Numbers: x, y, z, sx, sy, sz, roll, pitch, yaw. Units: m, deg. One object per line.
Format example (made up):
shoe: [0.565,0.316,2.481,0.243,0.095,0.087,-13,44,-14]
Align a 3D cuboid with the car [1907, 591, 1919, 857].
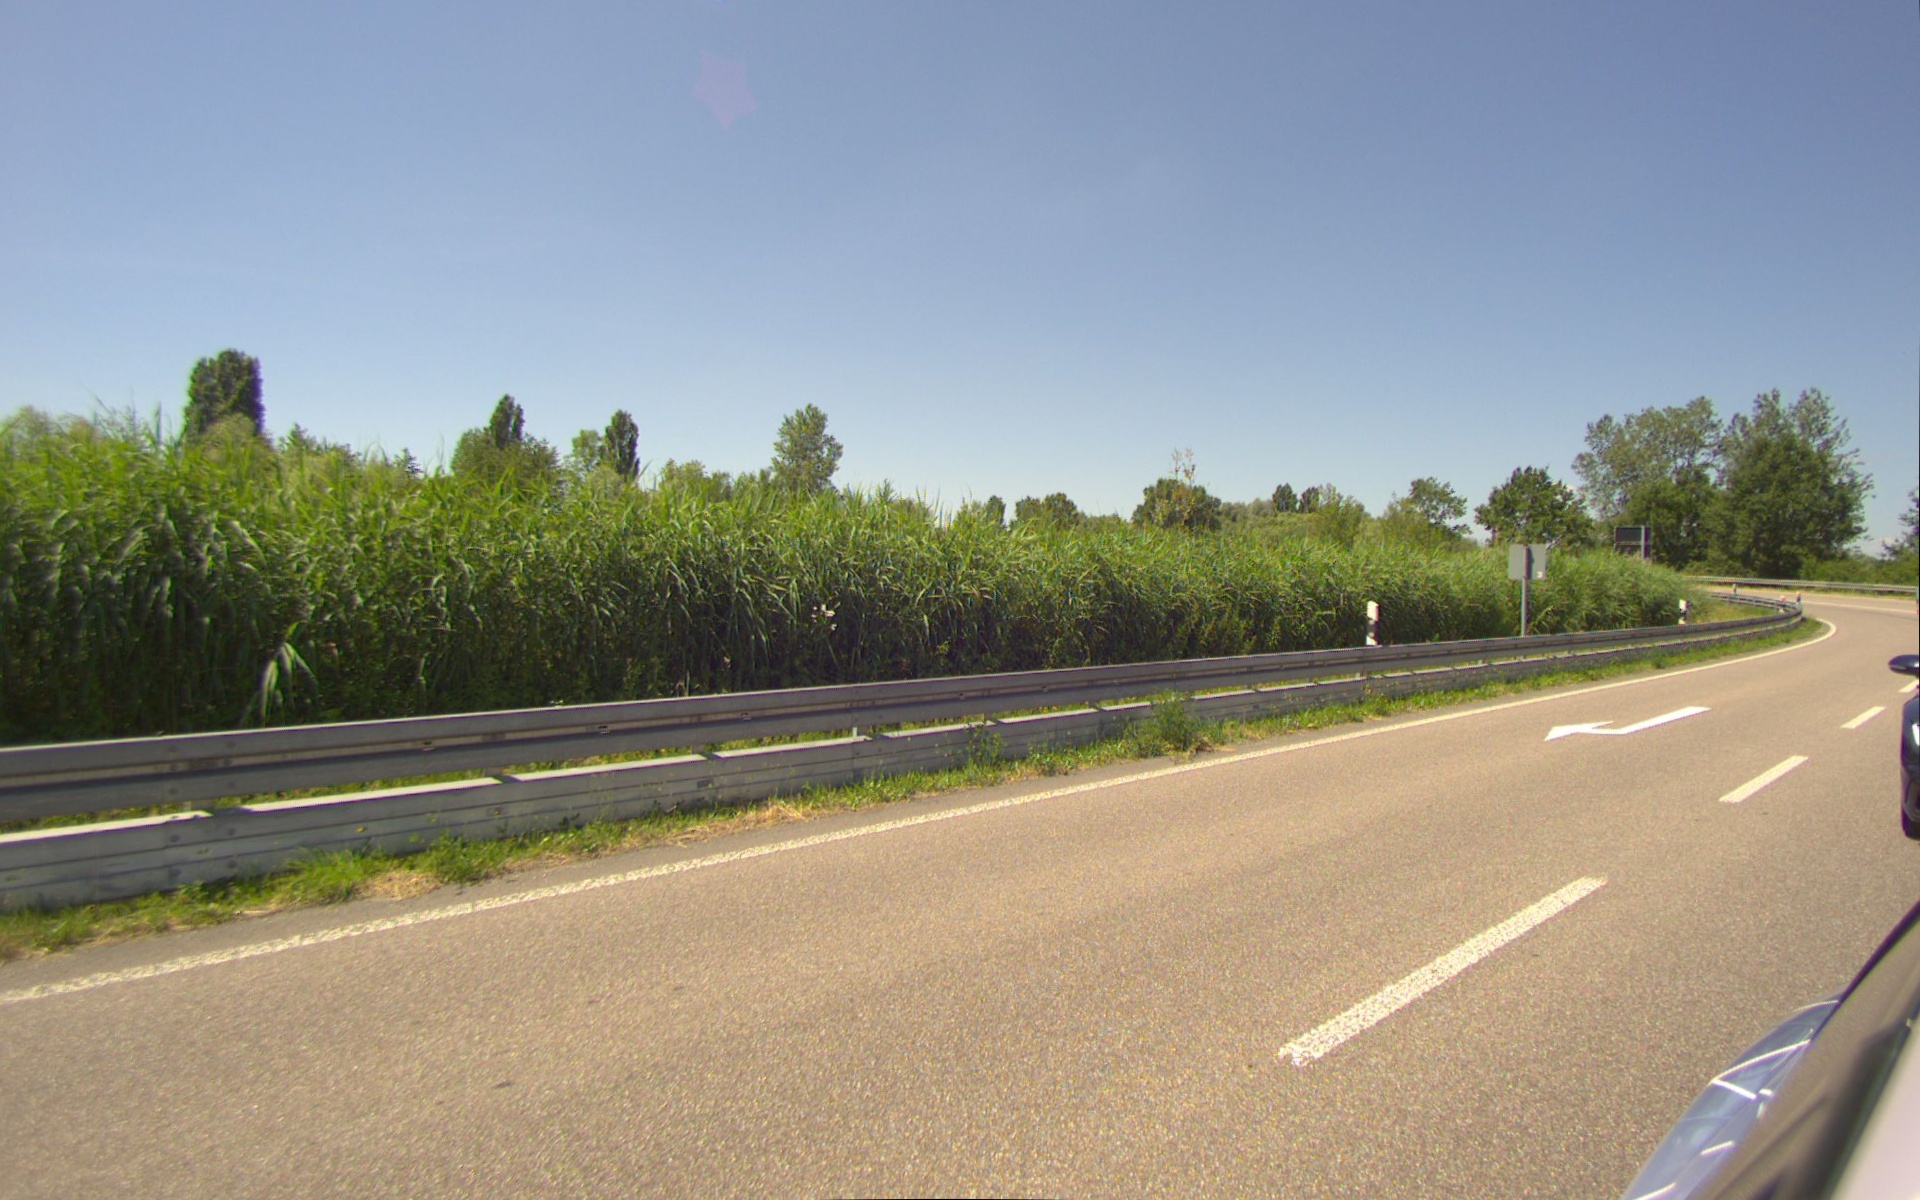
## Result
car: [7.174,0.647,6.130,3.931,1.427,1.759,-1,1,-42]
